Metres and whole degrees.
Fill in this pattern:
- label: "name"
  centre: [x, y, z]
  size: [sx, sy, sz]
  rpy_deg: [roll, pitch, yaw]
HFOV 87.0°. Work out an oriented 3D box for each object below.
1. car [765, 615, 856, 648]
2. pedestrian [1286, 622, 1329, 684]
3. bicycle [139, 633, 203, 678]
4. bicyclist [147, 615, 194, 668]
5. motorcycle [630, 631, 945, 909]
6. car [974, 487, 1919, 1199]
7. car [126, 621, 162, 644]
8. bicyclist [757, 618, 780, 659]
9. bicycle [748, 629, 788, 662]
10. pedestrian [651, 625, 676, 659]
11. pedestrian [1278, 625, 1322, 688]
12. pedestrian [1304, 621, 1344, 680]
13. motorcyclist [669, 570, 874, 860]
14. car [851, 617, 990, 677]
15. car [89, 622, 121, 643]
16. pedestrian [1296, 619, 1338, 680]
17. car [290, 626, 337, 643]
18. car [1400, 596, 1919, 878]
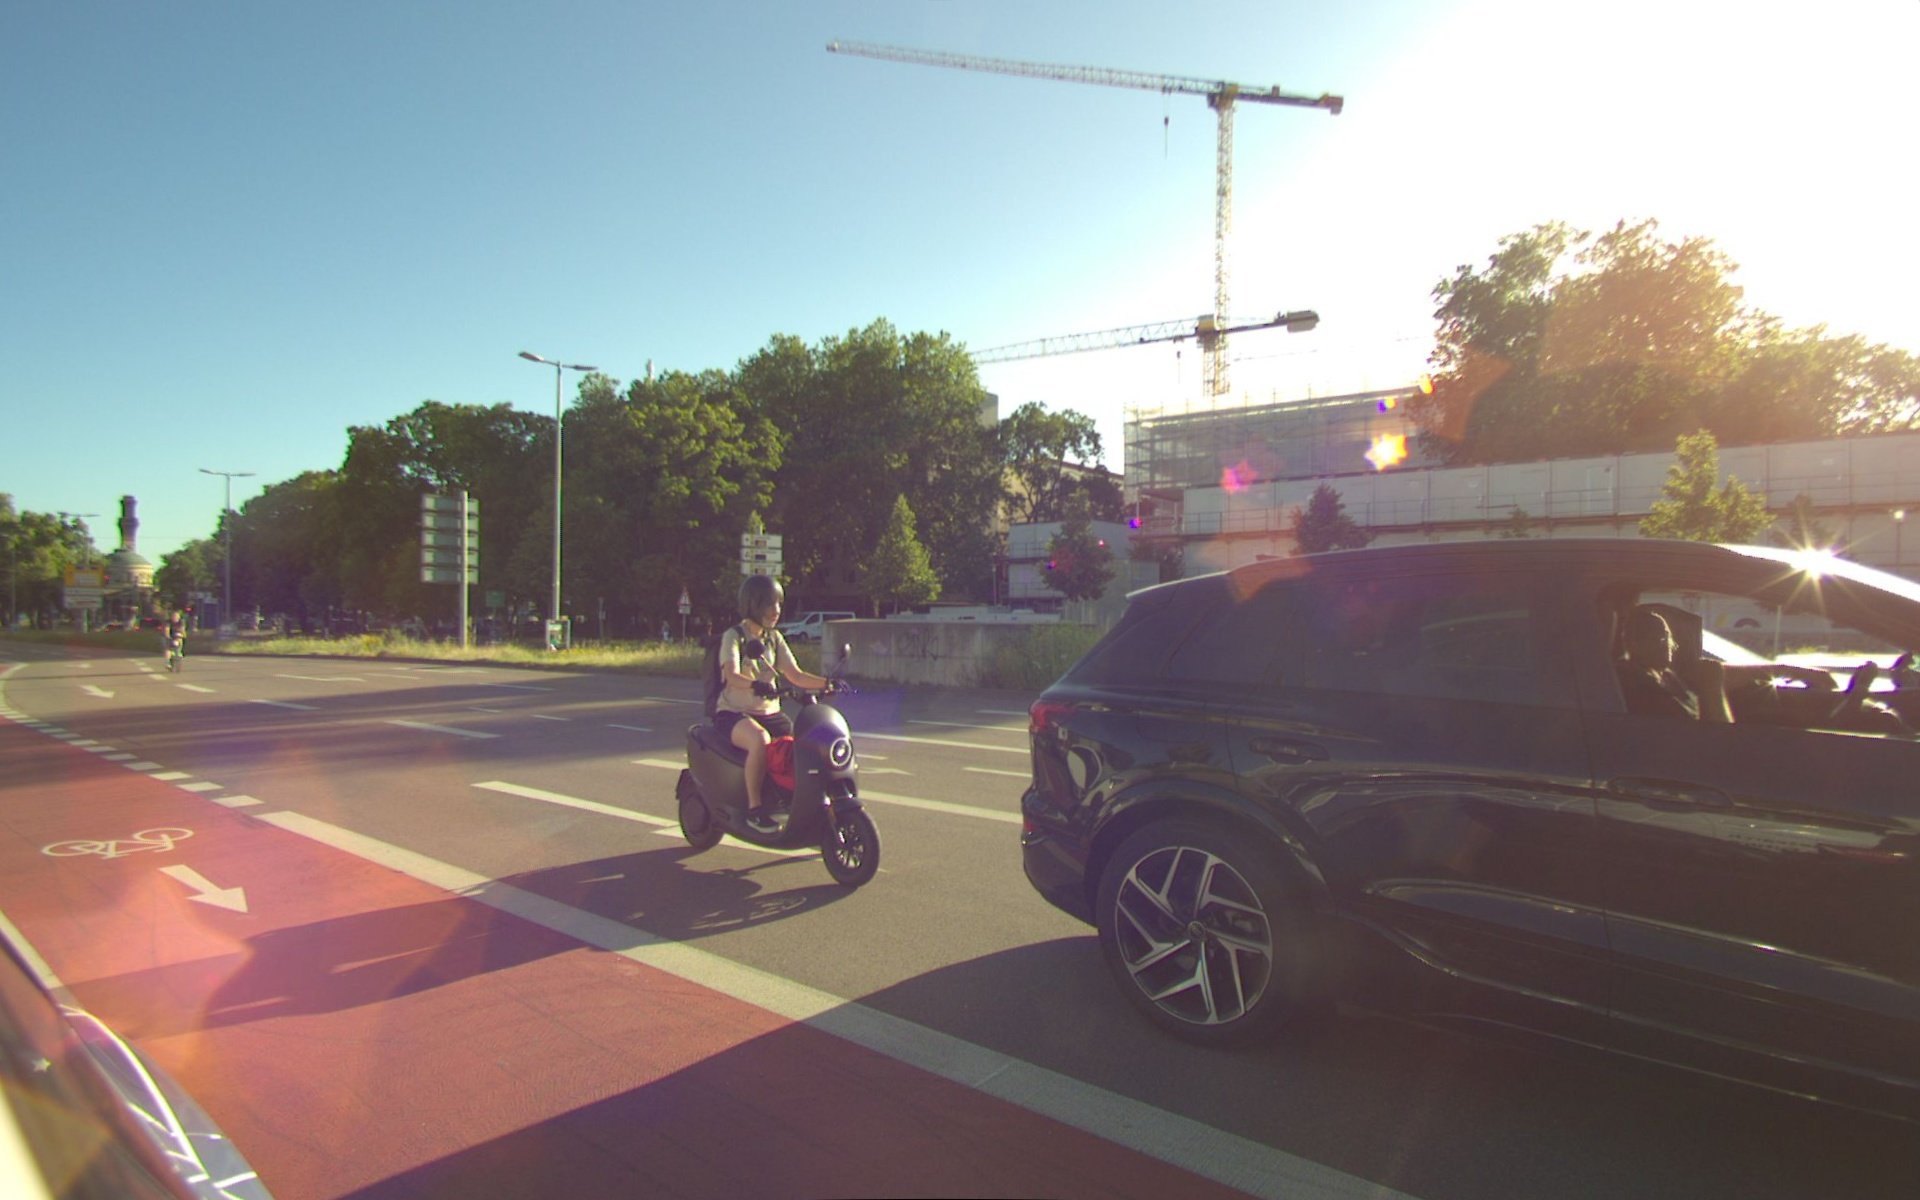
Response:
- label: "car"
  centre: [-9.059, 1.916, 61.846]
  size: [2.065, 1.950, 5.443]
  rpy_deg: [-1, -2, 42]
- label: "pedestrian"
  centre: [11.749, 1.756, 34.204]
  size: [1.135, 2.029, 0.930]
  rpy_deg: [-1, 0, 35]
- label: "bicycle"
  centre: [-21.243, 1.454, 27.211]
  size: [2.806, 1.124, 0.843]
  rpy_deg: [-2, -1, 41]
- label: "bicyclist"
  centre: [-21.186, 1.098, 27.167]
  size: [0.829, 1.358, 0.843]
  rpy_deg: [-2, -1, 41]
- label: "motorcycle"
  centre: [-1.033, 0.842, 5.731]
  size: [1.883, 1.303, 0.715]
  rpy_deg: [-2, -1, 41]
- label: "car"
  centre: [2.416, 0.577, 3.027]
  size: [4.677, 1.647, 1.753]
  rpy_deg: [-1, 0, 40]
- label: "car"
  centre: [-71.506, 2.835, 88.678]
  size: [3.998, 1.841, 1.796]
  rpy_deg: [-1, 0, 41]
- label: "bicyclist"
  centre: [-6.952, 1.395, 36.753]
  size: [0.713, 1.448, 0.490]
  rpy_deg: [-1, 0, 39]
- label: "bicycle"
  centre: [-6.995, 1.652, 36.792]
  size: [1.649, 1.163, 0.490]
  rpy_deg: [-1, 0, 40]
- label: "pedestrian"
  centre: [-16.697, 2.339, 56.986]
  size: [1.018, 1.845, 0.976]
  rpy_deg: [-1, 0, 39]
- label: "pedestrian"
  centre: [11.209, 1.843, 33.383]
  size: [1.135, 2.029, 0.930]
  rpy_deg: [-1, 0, 35]
- label: "pedestrian"
  centre: [12.878, 1.752, 35.803]
  size: [1.135, 2.029, 0.930]
  rpy_deg: [-1, 0, 35]
- label: "motorcyclist"
  centre: [-1.079, 0.596, 5.771]
  size: [0.917, 1.485, 0.717]
  rpy_deg: [-2, -1, 41]
- label: "car"
  centre: [-1.167, 1.283, 28.900]
  size: [3.894, 1.597, 1.637]
  rpy_deg: [-1, -2, 39]
- label: "car"
  centre: [-79.867, 3.015, 94.536]
  size: [3.945, 1.802, 1.725]
  rpy_deg: [-1, 0, 41]
- label: "pedestrian"
  centre: [12.337, 1.700, 34.988]
  size: [1.135, 2.029, 0.930]
  rpy_deg: [-1, 0, 35]
- label: "car"
  centre: [-79.459, 4.235, 124.416]
  size: [1.878, 1.851, 4.521]
  rpy_deg: [-1, 0, 43]
- label: "car"
  centre: [4.975, 0.755, 6.547]
  size: [3.603, 1.497, 1.477]
  rpy_deg: [-2, -1, 41]
